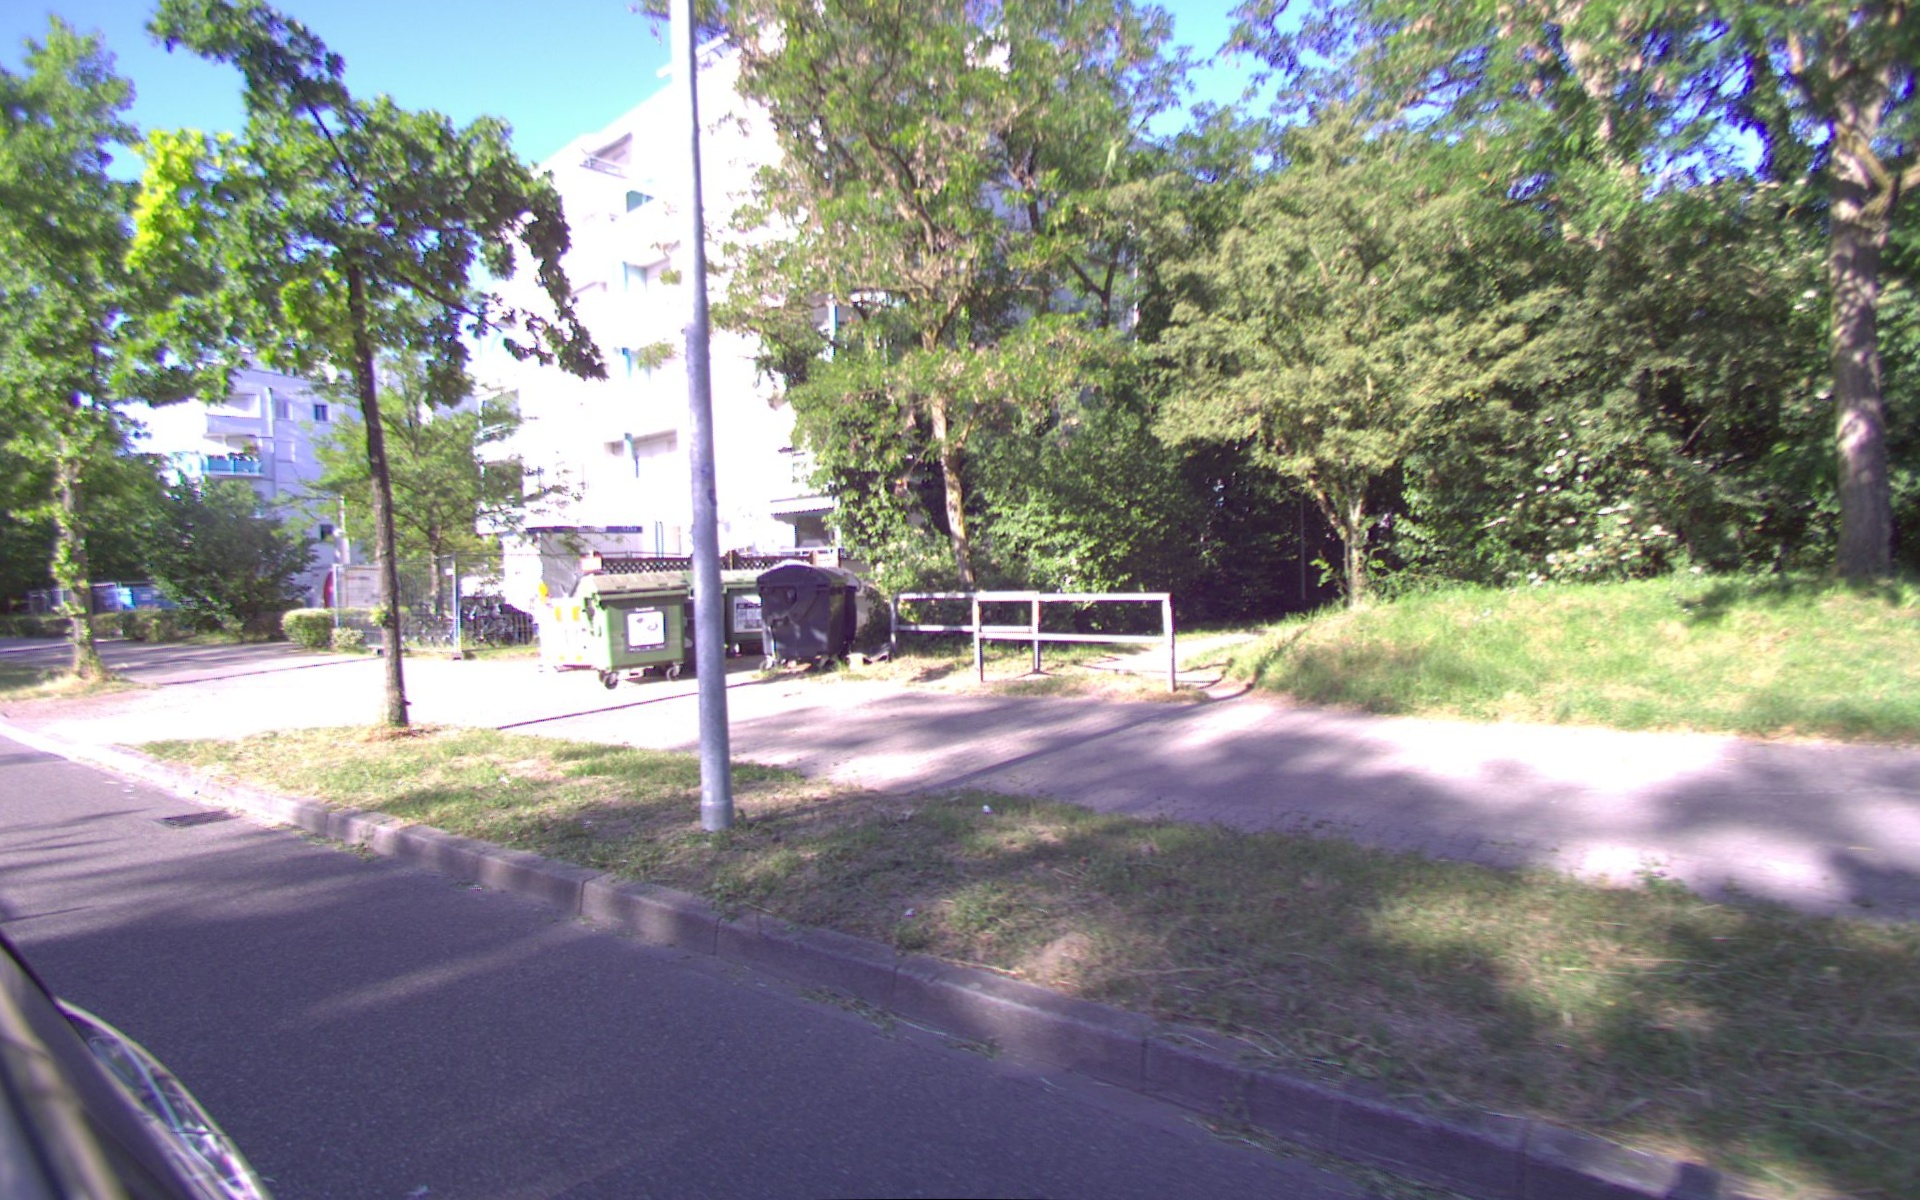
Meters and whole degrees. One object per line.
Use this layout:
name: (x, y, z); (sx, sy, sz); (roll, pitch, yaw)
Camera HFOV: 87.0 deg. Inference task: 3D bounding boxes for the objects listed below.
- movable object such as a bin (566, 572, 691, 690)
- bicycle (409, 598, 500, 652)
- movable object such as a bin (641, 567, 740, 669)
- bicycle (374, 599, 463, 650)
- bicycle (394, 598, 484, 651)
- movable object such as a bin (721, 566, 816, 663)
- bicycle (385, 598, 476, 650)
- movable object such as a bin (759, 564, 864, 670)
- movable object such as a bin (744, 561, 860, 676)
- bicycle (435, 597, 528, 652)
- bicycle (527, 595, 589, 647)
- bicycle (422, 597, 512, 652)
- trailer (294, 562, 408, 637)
movable object such as a bin: (-4.426, 0.375, 13.479); (1.252, 1.446, 1.184); (-2, 1, -35)
bicycle: (-10.729, 0.511, 21.532); (0.398, 1.034, 1.849); (-1, 2, 26)
movable object such as a bin: (-4.171, 0.252, 15.592); (1.251, 1.446, 1.330); (-2, 1, -23)
bicycle: (-12.155, 0.524, 22.767); (0.398, 1.034, 1.859); (-1, 2, 26)
bicycle: (-11.162, 0.501, 21.746); (0.398, 1.034, 1.828); (-1, 2, 26)
movable object such as a bin: (-3.080, 0.215, 16.198); (1.141, 1.446, 1.268); (-2, 1, -27)
bicycle: (-11.511, 0.501, 22.066); (0.398, 1.034, 1.845); (-1, 2, 26)
movable object such as a bin: (-2.154, 0.232, 14.837); (1.257, 1.446, 1.143); (-2, 1, 6)
movable object such as a bin: (-2.096, 0.236, 13.625); (1.257, 1.446, 1.143); (-2, 1, 6)
bicycle: (-9.937, 0.484, 21.106); (0.398, 1.034, 1.904); (-1, 2, 26)
bicycle: (-8.482, 0.427, 21.309); (1.698, 1.034, 0.395); (0, 2, 38)
bicycle: (-10.358, 0.488, 21.322); (0.398, 1.034, 1.828); (-1, 2, 26)
trailer: (-19.228, -0.018, 31.881); (4.346, 2.135, 1.844); (-1, 4, 43)
